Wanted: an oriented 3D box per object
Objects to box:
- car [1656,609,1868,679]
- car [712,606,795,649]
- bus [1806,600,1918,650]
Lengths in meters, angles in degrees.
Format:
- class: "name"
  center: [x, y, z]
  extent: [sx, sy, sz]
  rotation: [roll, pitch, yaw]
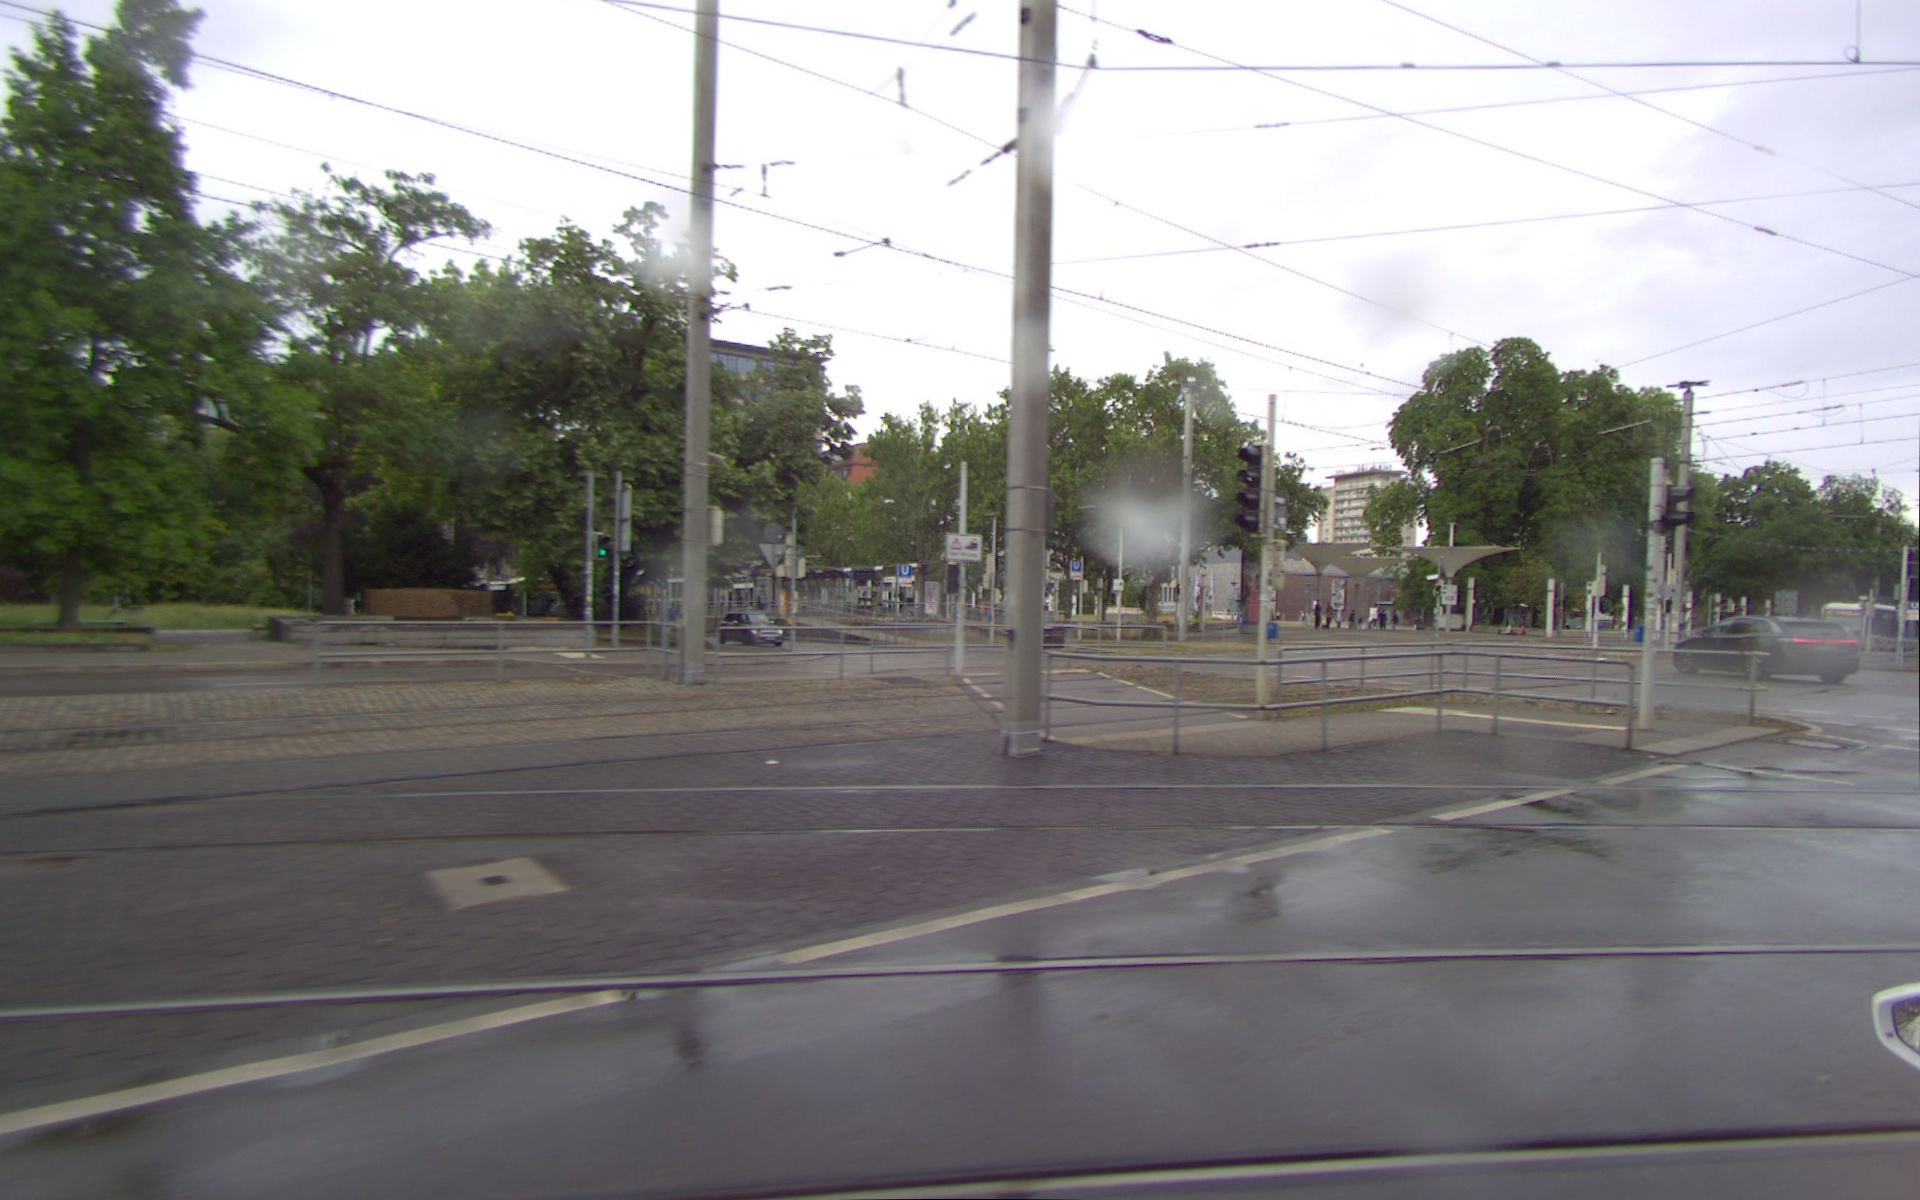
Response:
- class: "car"
  center: [19.519, 1.004, 24.781]
  extent: [2.063, 1.526, 4.734]
  rotation: [0, 0, 10]
- class: "car"
  center: [-8.805, 1.106, 42.660]
  extent: [1.981, 1.728, 3.959]
  rotation: [0, 0, -36]
- class: "bus"
  center: [64.976, 1.733, 72.226]
  extent: [12.392, 3.345, 3.058]
  rotation: [1, 0, -34]
